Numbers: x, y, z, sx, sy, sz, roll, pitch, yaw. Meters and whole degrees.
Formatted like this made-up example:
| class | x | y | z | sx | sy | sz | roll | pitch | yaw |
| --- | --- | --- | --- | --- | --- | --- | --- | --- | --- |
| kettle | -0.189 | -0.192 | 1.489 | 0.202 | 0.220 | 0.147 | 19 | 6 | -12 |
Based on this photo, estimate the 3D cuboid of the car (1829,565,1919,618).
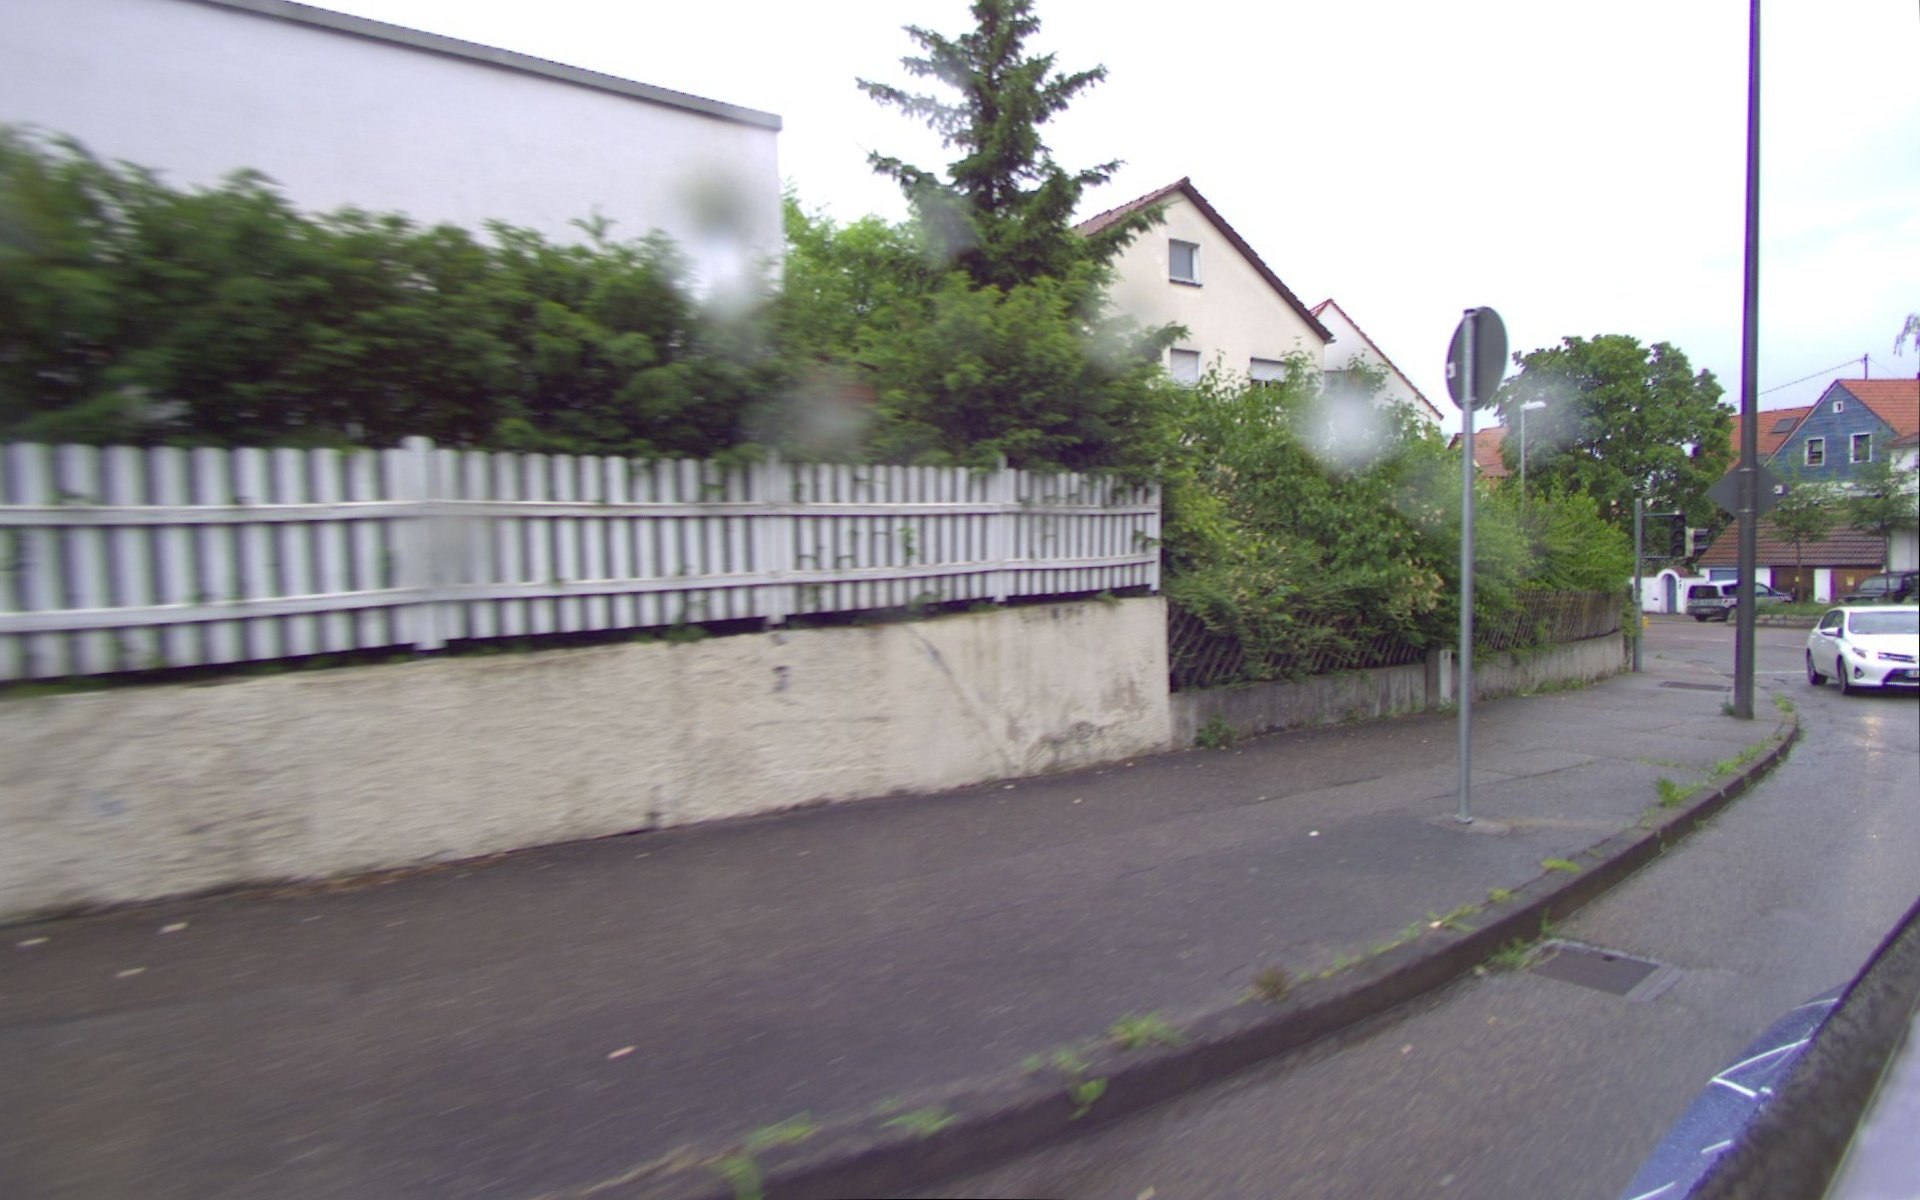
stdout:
| class | x | y | z | sx | sy | sz | roll | pitch | yaw |
| --- | --- | --- | --- | --- | --- | --- | --- | --- | --- |
| car | 37.028 | -0.358 | 40.309 | 4.006 | 1.796 | 1.802 | -4 | 0 | -19 |

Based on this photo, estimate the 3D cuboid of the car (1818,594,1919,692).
| class | x | y | z | sx | sy | sz | roll | pitch | yaw |
| --- | --- | --- | --- | --- | --- | --- | --- | --- | --- |
| car | 16.236 | 0.667 | 17.358 | 1.848 | 1.454 | 3.966 | -5 | -3 | 35 |

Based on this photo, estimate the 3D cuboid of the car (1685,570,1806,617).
| class | x | y | z | sx | sy | sz | roll | pitch | yaw |
| --- | --- | --- | --- | --- | --- | --- | --- | --- | --- |
| car | 35.676 | -0.299 | 46.019 | 4.036 | 1.822 | 2.002 | -4 | 0 | -8 |

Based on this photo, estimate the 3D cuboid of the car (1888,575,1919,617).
| class | x | y | z | sx | sy | sz | roll | pitch | yaw |
| --- | --- | --- | --- | --- | --- | --- | --- | --- | --- |
| car | 36.929 | -0.213 | 37.921 | 3.276 | 1.504 | 1.842 | -4 | 0 | -21 |
